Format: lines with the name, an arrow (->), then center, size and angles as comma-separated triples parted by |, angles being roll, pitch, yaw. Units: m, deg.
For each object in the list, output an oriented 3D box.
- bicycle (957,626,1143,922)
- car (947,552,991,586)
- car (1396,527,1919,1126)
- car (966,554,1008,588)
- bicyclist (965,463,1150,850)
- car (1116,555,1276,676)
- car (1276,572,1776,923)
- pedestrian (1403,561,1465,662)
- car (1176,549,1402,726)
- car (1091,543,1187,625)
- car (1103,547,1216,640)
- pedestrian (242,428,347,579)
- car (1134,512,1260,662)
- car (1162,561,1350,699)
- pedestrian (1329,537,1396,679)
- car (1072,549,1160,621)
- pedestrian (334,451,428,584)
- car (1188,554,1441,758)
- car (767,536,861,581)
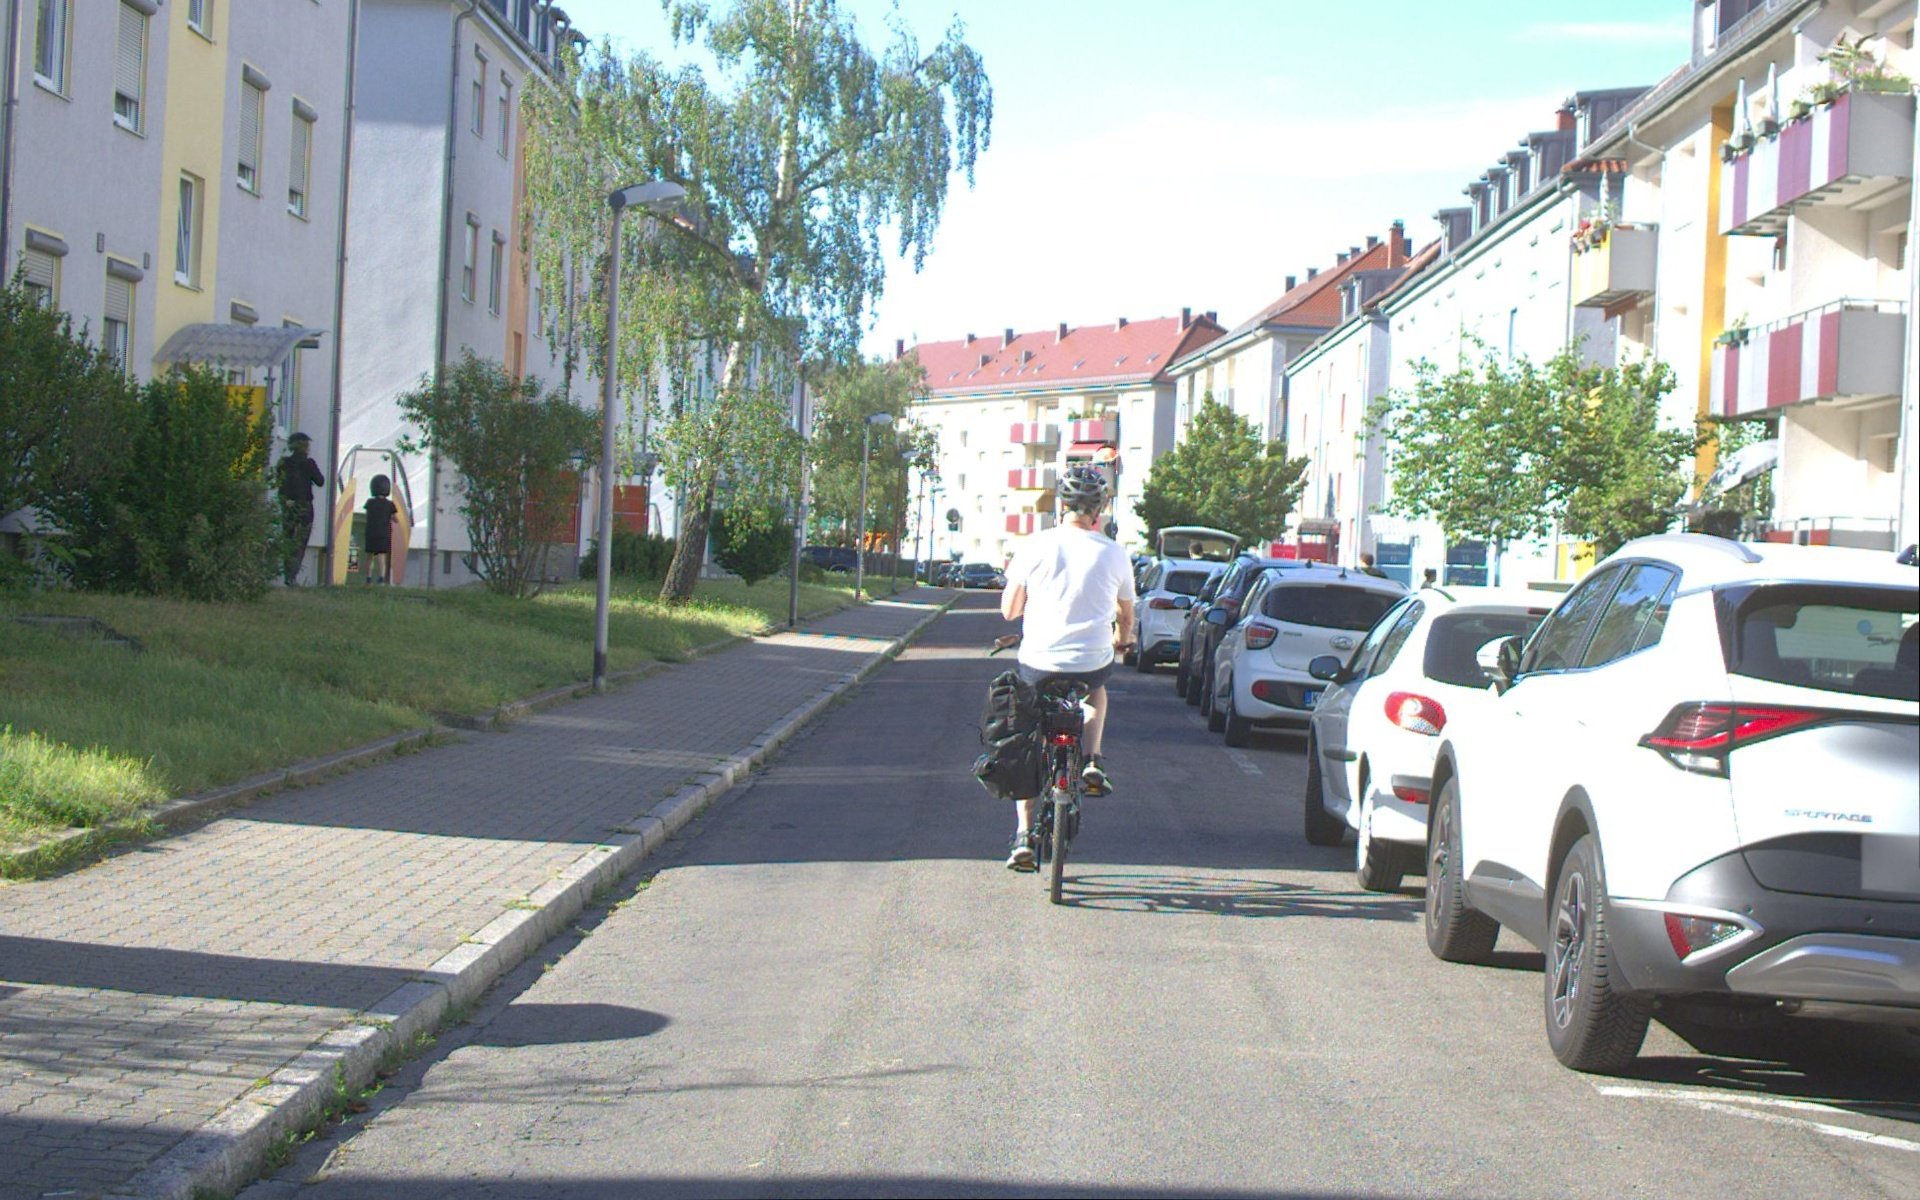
bicycle -> 0.362, 0.708, 14.764 | 0.660, 1.123, 1.766 | 4, 0, -1
car -> 0.434, -1.567, 172.857 | 1.993, 1.570, 4.000 | 2, 1, -2
car -> 2.746, 0.620, 11.408 | 1.983, 1.586, 4.125 | 3, 1, 0
car -> 1.318, -1.409, 167.497 | 1.756, 1.570, 3.904 | 2, 1, -3
bicyclist -> 0.410, 0.233, 14.816 | 0.694, 1.591, 0.791 | 3, 0, 0
car -> 3.185, 0.177, 47.093 | 1.894, 1.491, 4.092 | 3, 1, 1
car -> 2.656, 0.634, 16.930 | 1.757, 1.427, 3.629 | 3, 1, 0
pedestrian -> 8.015, 0.188, 58.124 | 0.713, 1.672, 0.792 | 3, 1, 31
car -> 3.182, 0.324, 33.988 | 1.835, 1.552, 4.000 | 3, 1, 1
car -> 3.769, -0.360, 73.012 | 1.806, 1.599, 4.404 | 3, 1, 1
car -> 3.573, -0.140, 62.217 | 1.806, 1.545, 4.000 | 3, 1, 1
pedestrian -> -7.869, -1.134, 40.691 | 0.970, 1.709, 0.946 | 3, 1, 1
car -> 3.607, -0.217, 52.916 | 1.619, 2.136, 4.000 | 3, 1, 1
car -> 3.366, 0.313, 39.704 | 1.835, 1.430, 3.752 | 3, 1, 1
pedestrian -> 5.831, 0.105, 49.864 | 0.791, 2.007, 1.082 | 2, 1, 1
car -> 3.513, -0.353, 77.953 | 1.806, 1.493, 4.200 | 3, 1, 1
pedestrian -> -6.882, -0.971, 40.906 | 0.863, 1.516, 1.068 | 3, 1, 1
car -> 2.928, 0.422, 29.051 | 1.631, 1.486, 3.623 | 5, 1, 0
car -> -6.437, -1.827, 151.536 | 3.987, 1.795, 2.000 | 2, 1, 0
